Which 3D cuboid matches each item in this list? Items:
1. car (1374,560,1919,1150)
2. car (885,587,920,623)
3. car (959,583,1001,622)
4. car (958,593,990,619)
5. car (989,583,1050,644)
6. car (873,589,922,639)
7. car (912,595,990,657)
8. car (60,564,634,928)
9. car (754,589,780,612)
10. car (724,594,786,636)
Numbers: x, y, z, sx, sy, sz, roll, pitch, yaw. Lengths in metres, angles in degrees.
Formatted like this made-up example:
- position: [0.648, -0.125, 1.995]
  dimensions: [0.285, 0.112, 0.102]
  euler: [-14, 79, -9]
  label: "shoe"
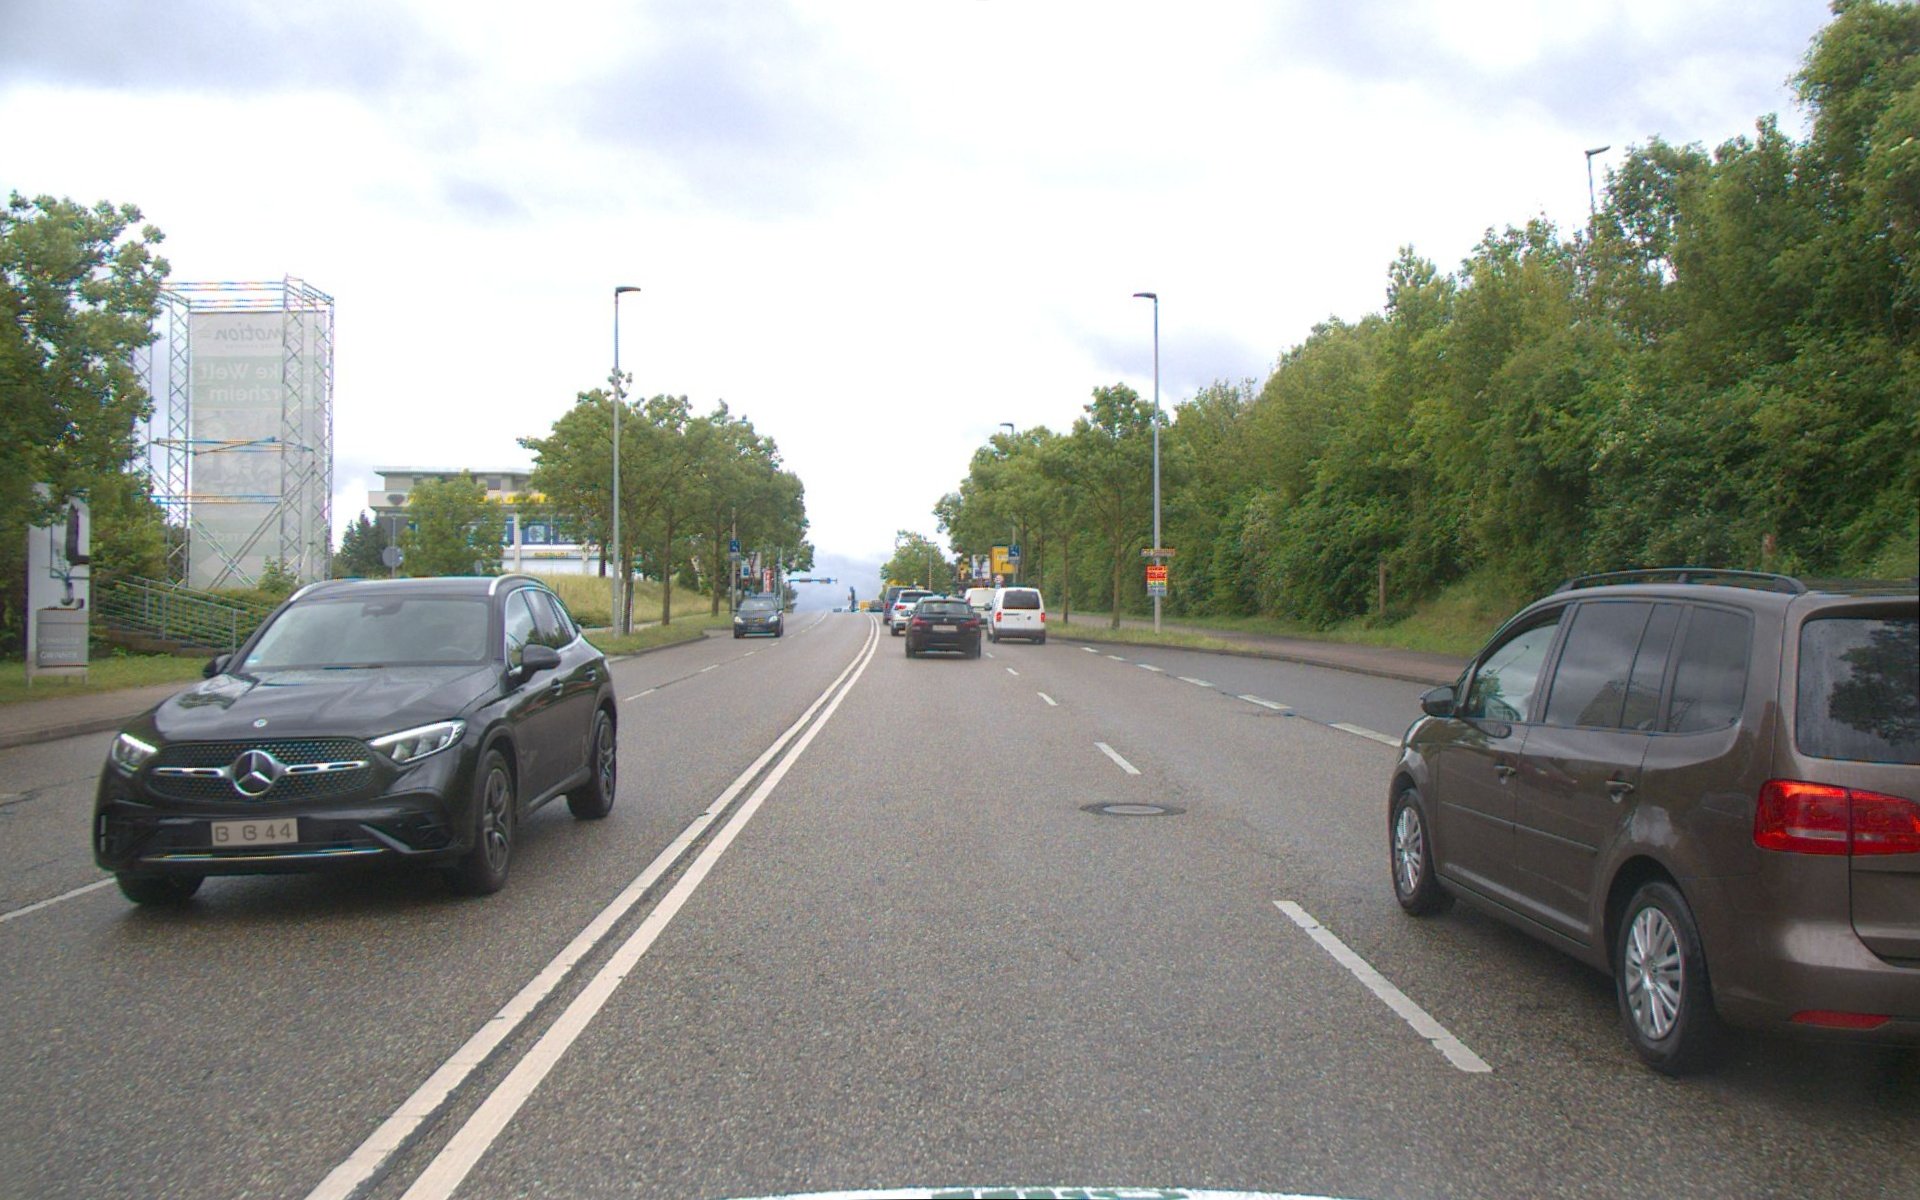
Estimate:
- position: [3.080, 0.715, 6.660]
  dimensions: [1.679, 1.624, 4.129]
  euler: [1, 0, -2]
  label: "car"
- position: [-2.855, 0.233, 82.018]
  dimensions: [1.723, 1.738, 3.944]
  euler: [0, 0, -2]
  label: "car"
- position: [0.913, 0.098, 77.172]
  dimensions: [1.778, 1.738, 3.944]
  euler: [0, 0, -2]
  label: "car"
- position: [0.779, 0.321, 92.271]
  dimensions: [1.568, 1.396, 3.678]
  euler: [-1, 0, -3]
  label: "car"
- position: [1.944, 0.433, 54.736]
  dimensions: [1.706, 1.902, 3.944]
  euler: [1, 0, -2]
  label: "car"
- position: [-2.290, 0.498, 60.951]
  dimensions: [1.693, 1.741, 3.382]
  euler: [1, 0, -1]
  label: "car"
- position: [-0.267, 0.617, 41.110]
  dimensions: [1.817, 1.444, 3.955]
  euler: [1, 0, -2]
  label: "car"
- position: [-3.247, 0.656, 9.791]
  dimensions: [1.821, 1.605, 4.319]
  euler: [-2, 0, -1]
  label: "car"
- position: [-14.670, 0.061, 125.812]
  dimensions: [1.692, 1.697, 4.484]
  euler: [1, 0, -4]
  label: "car"
- position: [-7.769, 0.539, 63.010]
  dimensions: [1.701, 1.479, 4.001]
  euler: [-2, 0, 1]
  label: "car"
